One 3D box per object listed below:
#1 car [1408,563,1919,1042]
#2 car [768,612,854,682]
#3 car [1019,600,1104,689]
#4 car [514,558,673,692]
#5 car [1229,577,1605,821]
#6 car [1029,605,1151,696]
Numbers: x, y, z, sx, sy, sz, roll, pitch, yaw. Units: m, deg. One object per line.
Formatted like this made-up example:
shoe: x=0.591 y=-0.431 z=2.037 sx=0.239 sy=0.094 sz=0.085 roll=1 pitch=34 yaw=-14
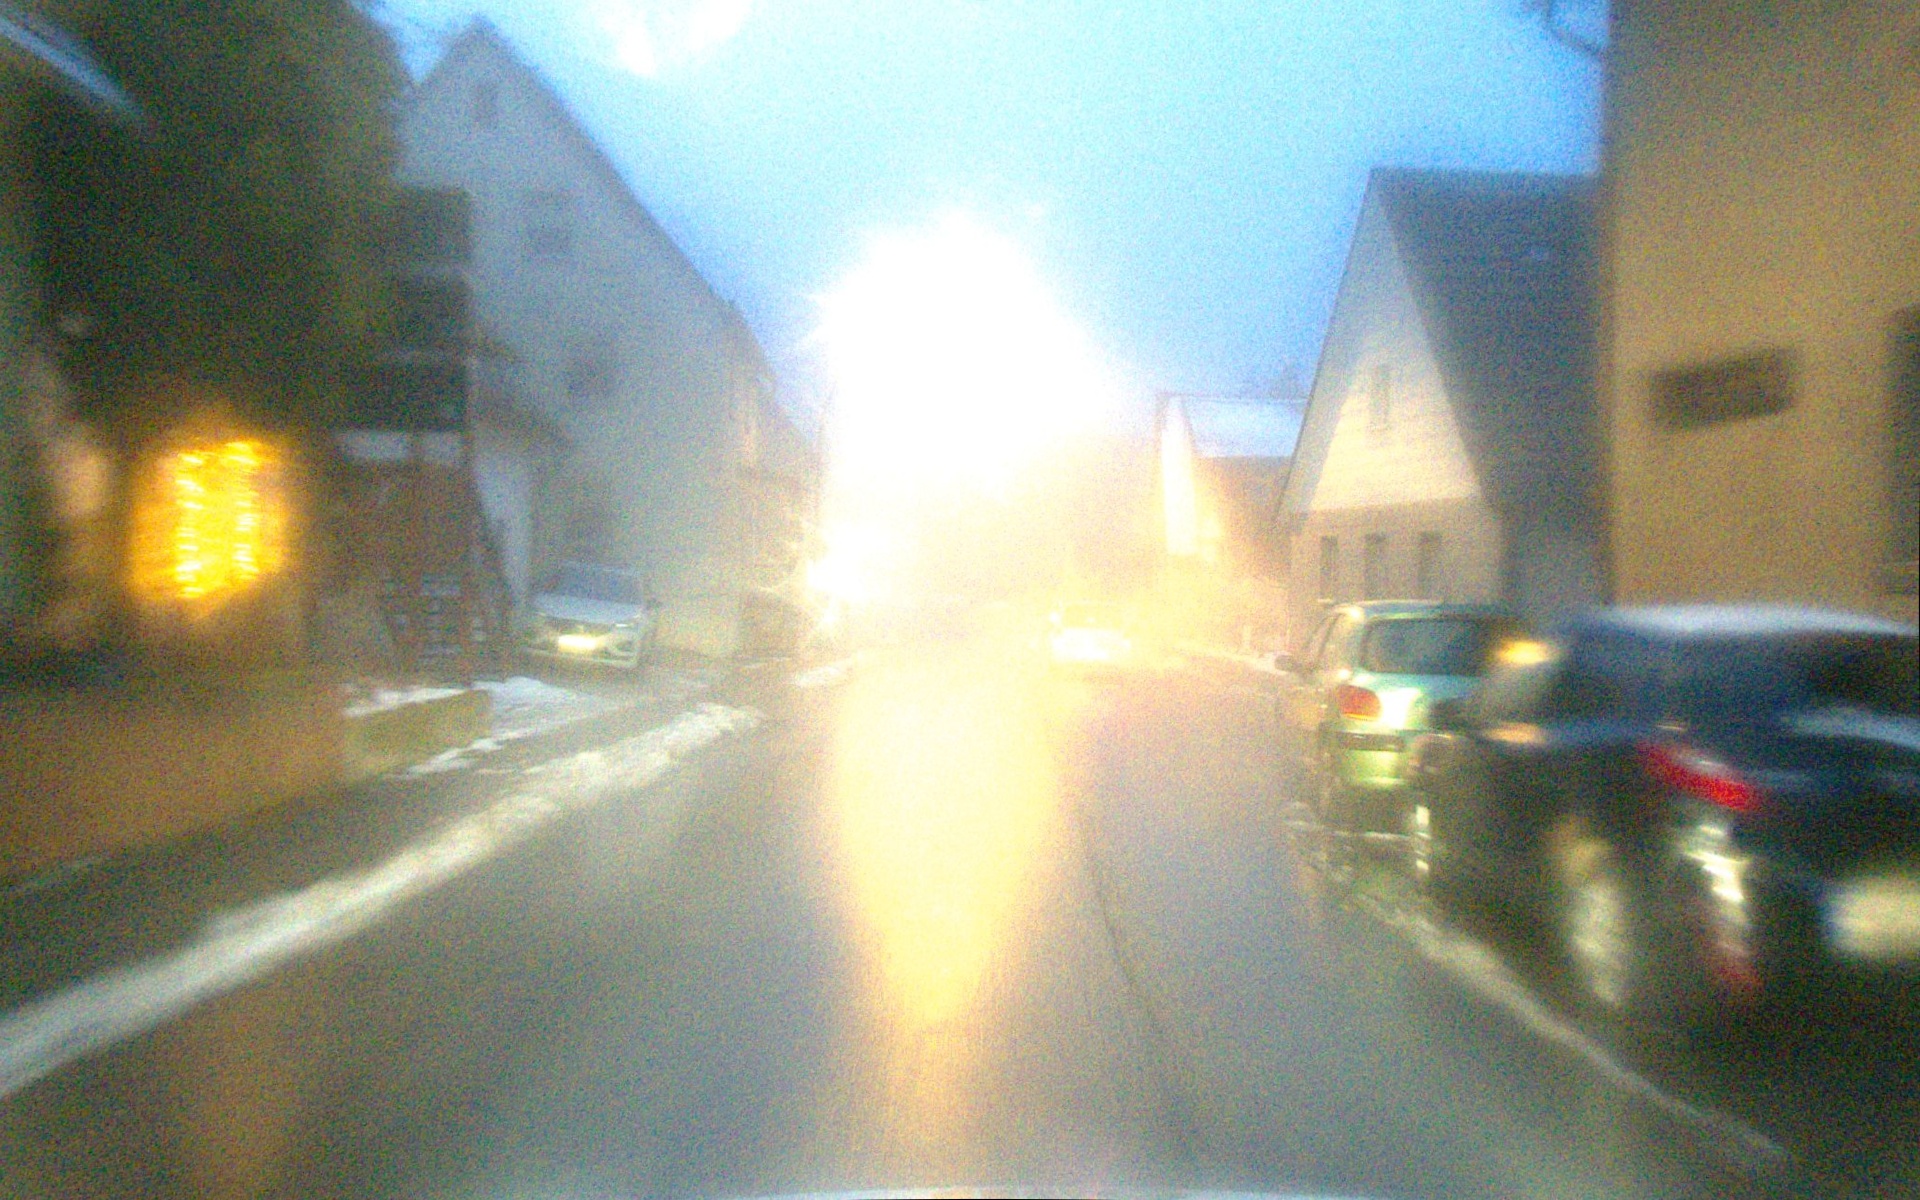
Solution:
car: x=3.256 y=0.716 z=7.313 sx=1.680 sy=1.526 sz=3.908 roll=2 pitch=-1 yaw=4
car: x=-3.862 y=1.188 z=43.491 sx=1.954 sy=1.549 sz=4.189 roll=3 pitch=1 yaw=-2
car: x=2.564 y=1.148 z=42.029 sx=1.952 sy=2.049 sz=4.001 roll=3 pitch=-2 yaw=3
car: x=-5.700 y=0.369 z=26.265 sx=1.731 sy=1.766 sz=4.634 roll=6 pitch=-1 yaw=-5
car: x=3.251 y=0.665 z=12.655 sx=1.870 sy=1.507 sz=4.283 roll=1 pitch=-1 yaw=3
car: x=2.444 y=0.980 z=32.018 sx=1.953 sy=1.534 sz=3.999 roll=4 pitch=-2 yaw=0
